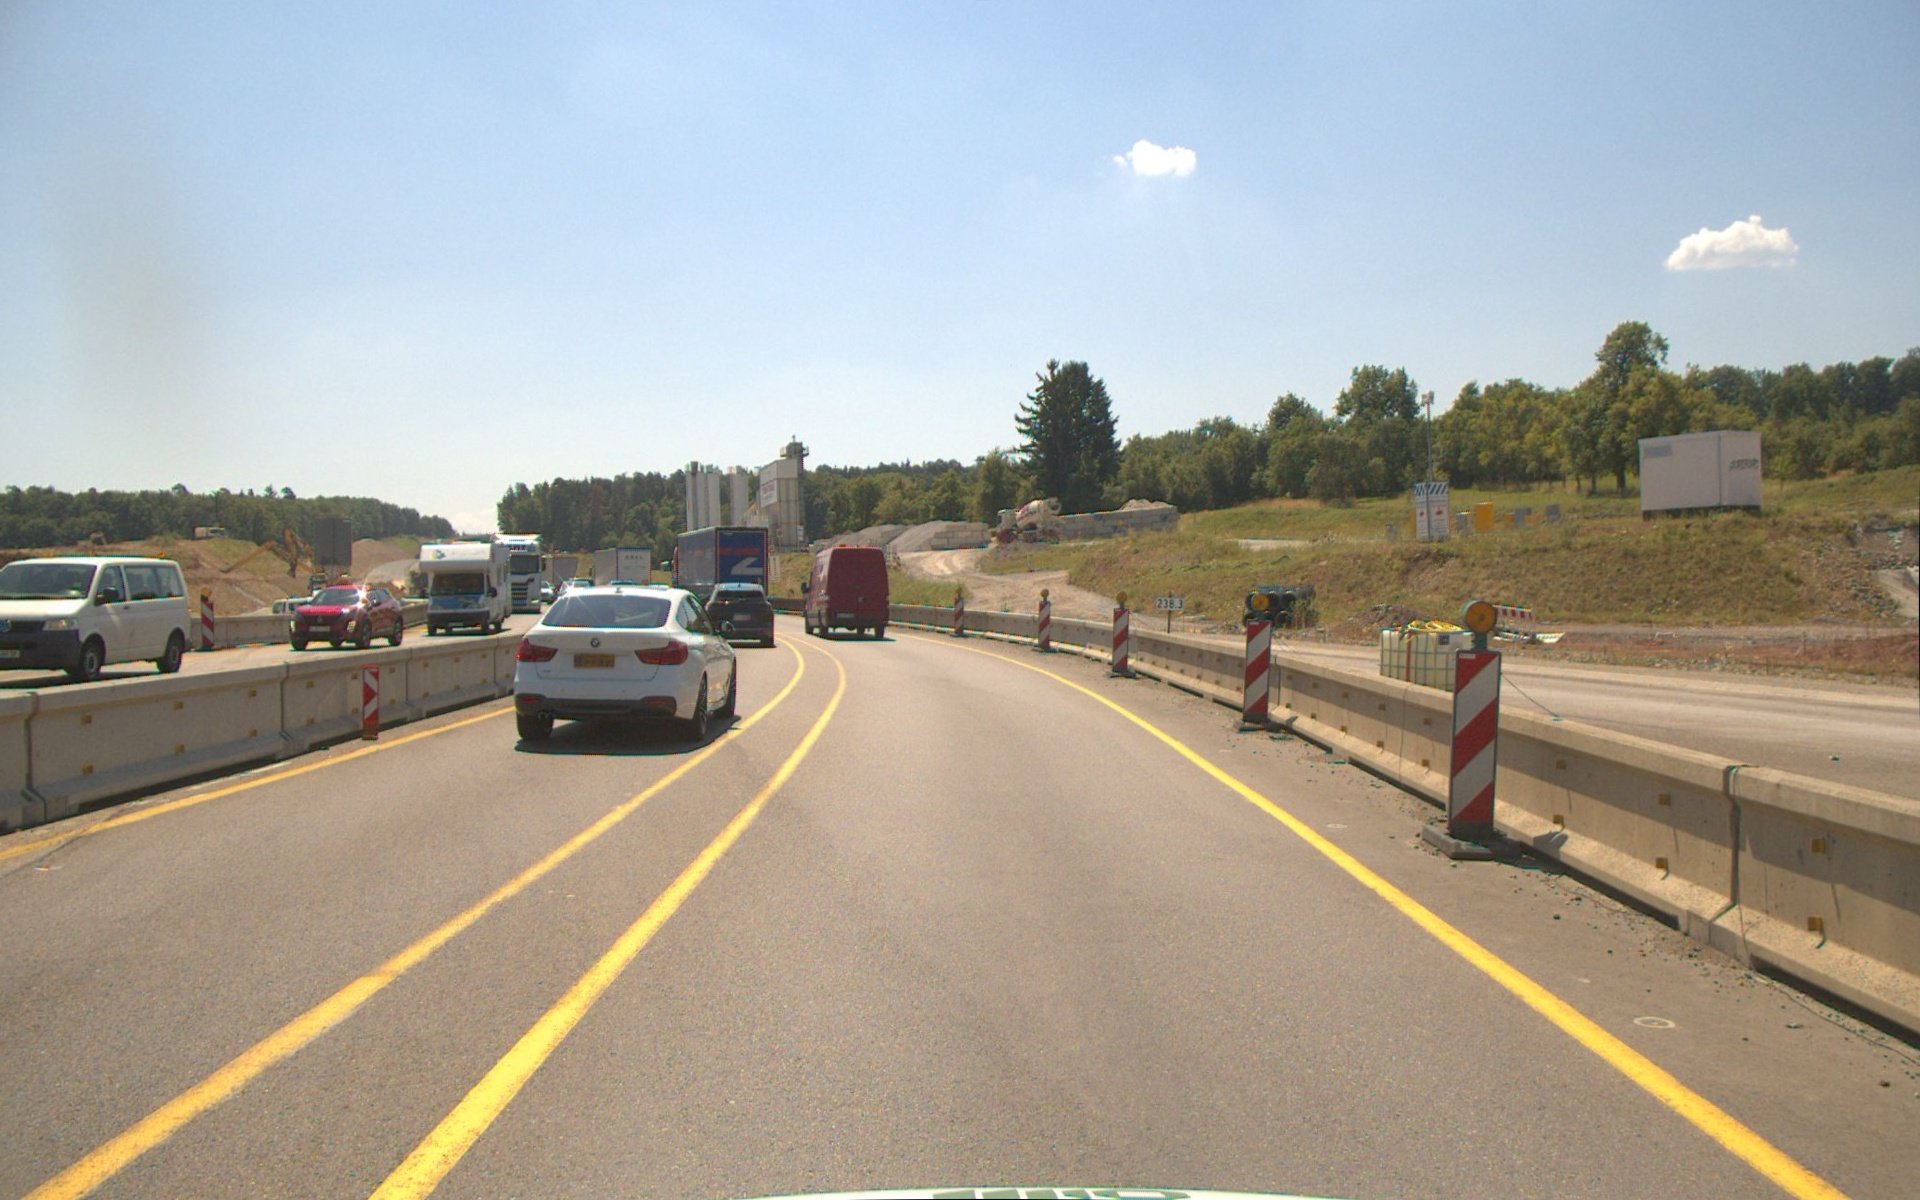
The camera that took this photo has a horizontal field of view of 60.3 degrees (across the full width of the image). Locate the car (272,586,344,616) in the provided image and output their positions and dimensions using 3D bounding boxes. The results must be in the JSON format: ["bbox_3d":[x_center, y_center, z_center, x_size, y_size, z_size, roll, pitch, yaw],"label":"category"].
[{"bbox_3d":[-34.299,0.032,87.041,1.522,1.480,3.178,0,1,45],"label":"car"}]

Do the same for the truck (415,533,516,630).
[{"bbox_3d":[-17.110,-0.661,57.594,2.396,3.125,7.232,-1,1,-9],"label":"truck"}]

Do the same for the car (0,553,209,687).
[{"bbox_3d":[-14.342,0.268,27.205,1.828,1.987,4.890,-1,1,-2],"label":"car"}]

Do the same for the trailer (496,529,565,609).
[{"bbox_3d":[-24.321,-1.738,94.140,2.710,4.186,13.942,-1,1,-10],"label":"trailer"}]

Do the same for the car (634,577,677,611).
[{"bbox_3d":[-15.307,-0.338,83.095,1.772,1.607,3.984,-1,1,-15],"label":"car"}]

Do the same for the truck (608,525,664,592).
[{"bbox_3d":[-24.369,-3.057,124.056,3.621,4.773,9.717,-1,1,-14],"label":"truck"}]

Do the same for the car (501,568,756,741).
[{"bbox_3d":[-3.361,0.452,17.733,1.758,1.561,5.073,1,1,-1],"label":"car"}]

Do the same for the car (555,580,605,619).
[{"bbox_3d":[-17.011,-0.042,74.131,1.628,1.633,4.391,-1,1,-6],"label":"car"}]

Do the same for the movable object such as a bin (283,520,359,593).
[{"bbox_3d":[-70.911,-4.818,183.685,7.518,7.847,3.429,-1,1,-18],"label":"movable object such as a bin"}]

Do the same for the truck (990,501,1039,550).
[{"bbox_3d":[4.879,-6.660,148.038,2.713,4.167,4.063,-2,1,-28],"label":"truck"}]

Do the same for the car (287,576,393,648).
[{"bbox_3d":[-15.444,0.244,41.379,1.689,1.656,4.326,-1,1,-10],"label":"car"}]

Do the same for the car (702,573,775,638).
[{"bbox_3d":[-5.756,0.102,43.279,1.761,1.561,3.926,-1,1,-6],"label":"car"}]

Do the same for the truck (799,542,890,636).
[{"bbox_3d":[-3.655,-0.371,51.266,2.074,2.679,6.468,-1,1,-10],"label":"truck"}]

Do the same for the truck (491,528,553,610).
[{"bbox_3d":[-23.031,-1.611,87.235,2.653,4.132,5.487,-1,1,-11],"label":"truck"}]

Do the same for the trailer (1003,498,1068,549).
[{"bbox_3d":[6.584,-6.649,144.719,2.724,4.186,6.685,-2,1,-27],"label":"trailer"}]

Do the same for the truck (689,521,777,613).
[{"bbox_3d":[-11.275,-1.608,81.478,2.968,4.225,8.233,-1,1,-17],"label":"truck"}]
